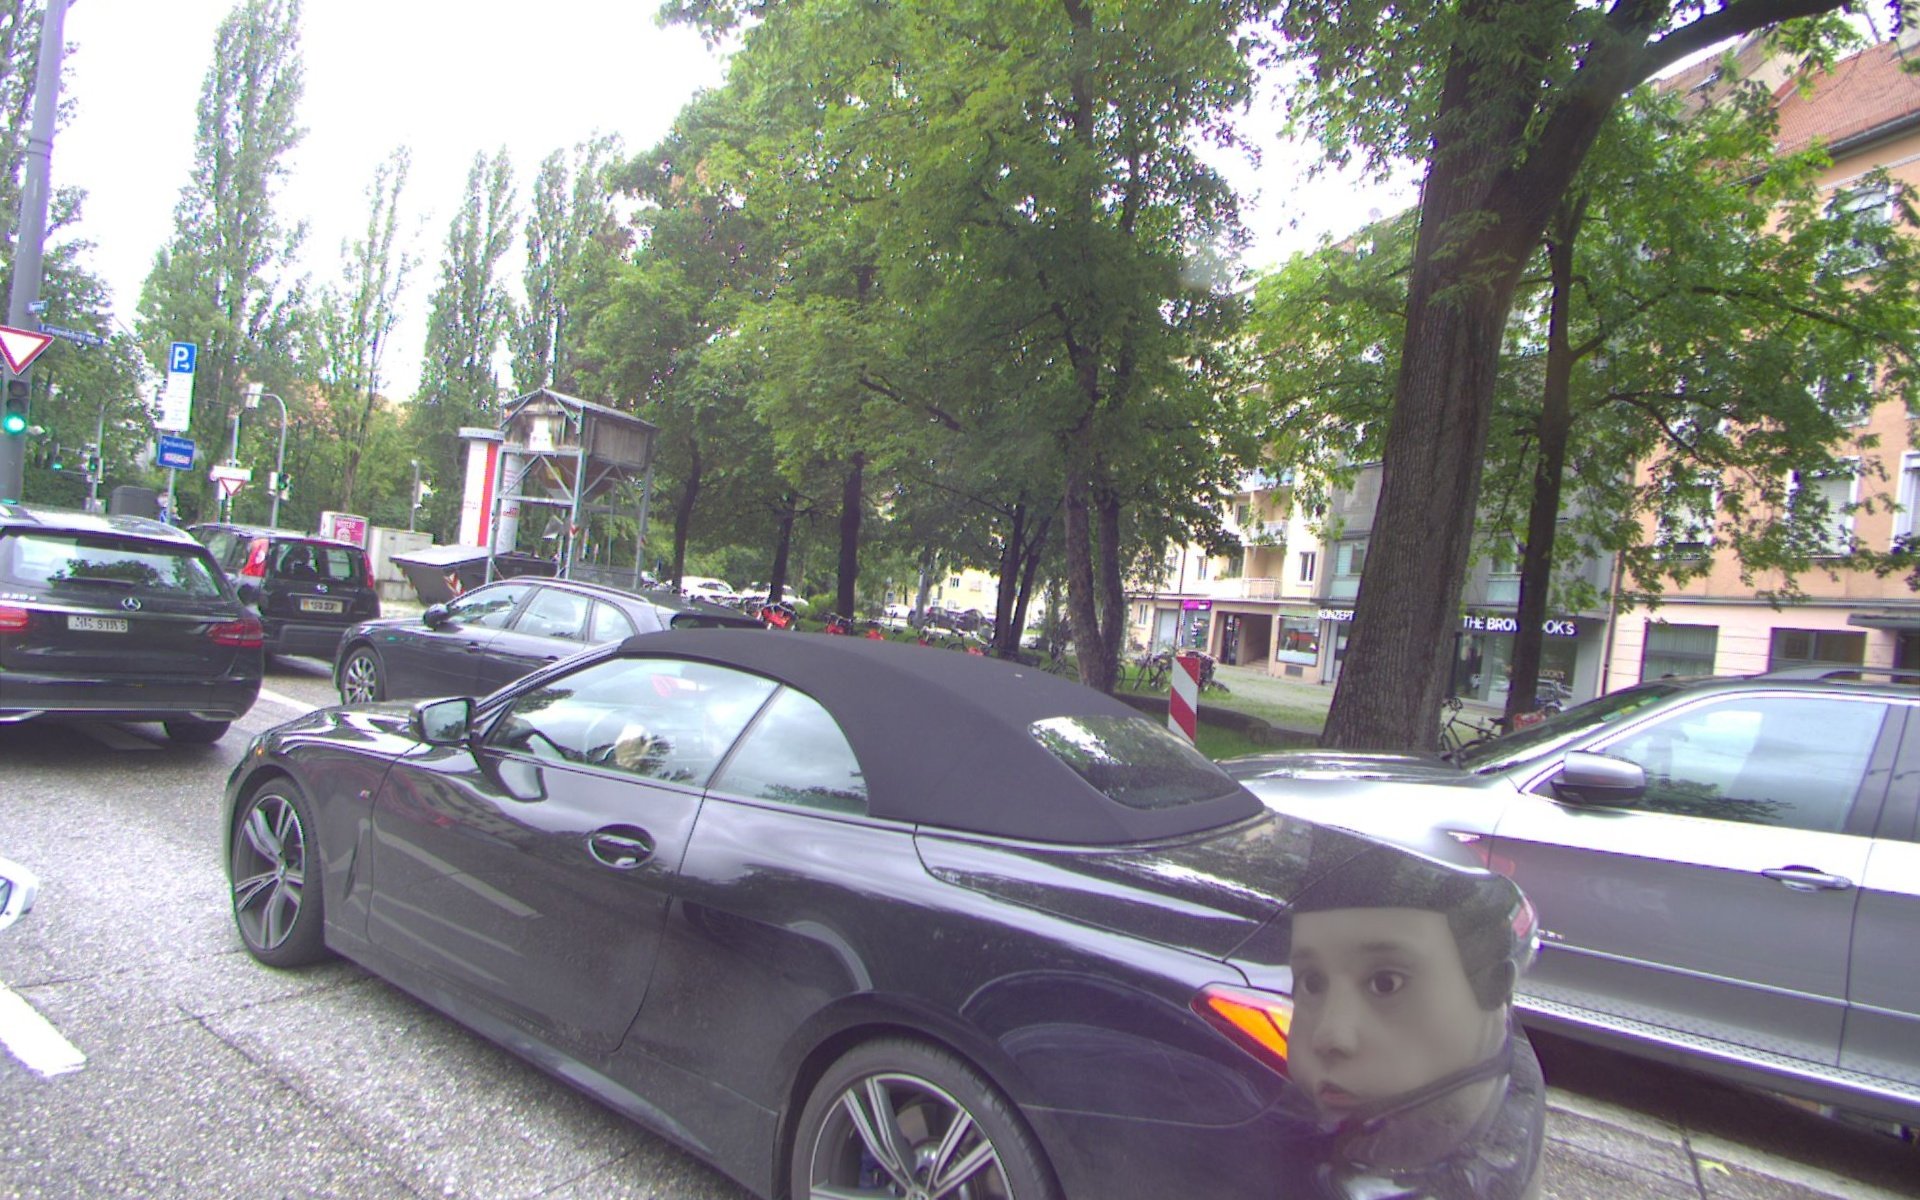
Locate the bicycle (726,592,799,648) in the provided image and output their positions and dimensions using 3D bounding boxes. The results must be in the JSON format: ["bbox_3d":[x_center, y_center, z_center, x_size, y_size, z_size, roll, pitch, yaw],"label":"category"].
[{"bbox_3d":[-3.729,0.390,19.081,0.308,0.904,1.408,6,-2,38],"label":"bicycle"}]

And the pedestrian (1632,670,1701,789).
[{"bbox_3d":[12.163,2.221,17.323,0.622,1.924,0.626,7,-1,-31],"label":"pedestrian"}]

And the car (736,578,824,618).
[{"bbox_3d":[-8.399,-0.063,47.278,1.700,1.424,4.370,7,0,27],"label":"car"}]

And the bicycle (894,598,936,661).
[{"bbox_3d":[-1.063,0.689,24.321,0.619,1.374,2.468,7,1,3],"label":"bicycle"}]

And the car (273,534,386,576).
[{"bbox_3d":[-31.160,-2.179,49.814,1.756,1.504,4.345,6,0,30],"label":"car"}]

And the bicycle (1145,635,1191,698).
[{"bbox_3d":[5.376,1.695,26.129,0.619,1.374,2.467,7,2,2],"label":"bicycle"}]

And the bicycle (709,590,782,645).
[{"bbox_3d":[-4.101,0.352,19.326,0.308,0.904,1.408,6,-2,38],"label":"bicycle"}]

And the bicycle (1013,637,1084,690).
[{"bbox_3d":[1.778,1.268,20.293,1.391,0.904,0.312,6,-1,38],"label":"bicycle"}]

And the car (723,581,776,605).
[{"bbox_3d":[-16.713,-0.515,80.013,1.755,1.504,4.134,6,0,27],"label":"car"}]

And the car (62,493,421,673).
[{"bbox_3d":[-8.575,-0.241,11.893,4.480,1.568,1.832,7,0,33],"label":"car"}]

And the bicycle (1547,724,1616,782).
[{"bbox_3d":[8.980,2.214,14.520,1.167,0.732,0.316,8,-2,-33],"label":"bicycle"}]

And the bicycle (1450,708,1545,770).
[{"bbox_3d":[8.048,2.078,15.091,1.163,0.732,0.317,6,-2,43],"label":"bicycle"}]

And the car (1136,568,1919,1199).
[{"bbox_3d":[3.277,1.077,4.200,4.475,1.842,1.935,7,0,27],"label":"car"}]

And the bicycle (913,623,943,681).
[{"bbox_3d":[-0.550,0.866,16.987,0.308,0.904,1.412,7,-2,-5],"label":"bicycle"}]

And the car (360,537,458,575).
[{"bbox_3d":[-29.543,-2.345,54.092,1.756,1.504,4.251,6,0,30],"label":"car"}]

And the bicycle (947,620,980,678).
[{"bbox_3d":[0.046,0.813,17.028,0.308,0.904,1.412,7,-2,-5],"label":"bicycle"}]

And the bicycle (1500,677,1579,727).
[{"bbox_3d":[18.296,3.208,31.823,0.500,1.304,2.238,7,-2,-22],"label":"bicycle"}]

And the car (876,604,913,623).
[{"bbox_3d":[-6.544,1.385,101.053,1.755,1.504,4.134,6,0,27],"label":"car"}]

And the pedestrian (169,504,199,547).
[{"bbox_3d":[-32.539,-3.119,42.177,0.692,1.682,0.550,7,-1,-18],"label":"pedestrian"}]

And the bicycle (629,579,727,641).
[{"bbox_3d":[-5.718,0.231,20.584,0.619,1.028,2.241,7,-2,21],"label":"bicycle"}]

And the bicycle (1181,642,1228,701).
[{"bbox_3d":[6.758,1.947,27.941,0.619,1.374,2.467,7,2,2],"label":"bicycle"}]

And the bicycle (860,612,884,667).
[{"bbox_3d":[-1.576,0.695,17.939,0.308,0.904,1.412,7,-2,-5],"label":"bicycle"}]

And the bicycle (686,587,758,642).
[{"bbox_3d":[-4.660,0.297,19.769,0.308,0.904,1.408,6,-2,38],"label":"bicycle"}]

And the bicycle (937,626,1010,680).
[{"bbox_3d":[0.282,1.073,20.280,1.395,0.904,0.311,8,-1,-25],"label":"bicycle"}]

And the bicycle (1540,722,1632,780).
[{"bbox_3d":[10.021,2.414,16.133,0.316,0.732,1.167,8,-2,-36],"label":"bicycle"}]

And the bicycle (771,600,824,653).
[{"bbox_3d":[-3.064,0.521,19.041,0.307,0.904,1.414,7,-2,17],"label":"bicycle"}]

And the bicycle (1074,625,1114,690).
[{"bbox_3d":[3.329,1.391,25.173,0.619,1.374,2.467,7,2,2],"label":"bicycle"}]

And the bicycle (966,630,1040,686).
[{"bbox_3d":[0.804,1.093,19.095,1.391,0.904,0.312,6,-1,38],"label":"bicycle"}]

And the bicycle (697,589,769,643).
[{"bbox_3d":[-4.392,0.323,19.552,0.308,0.904,1.408,6,-2,38],"label":"bicycle"}]

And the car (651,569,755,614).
[{"bbox_3d":[-10.734,-0.322,42.349,1.700,1.424,4.370,7,0,27],"label":"car"}]

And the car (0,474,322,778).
[{"bbox_3d":[-6.613,-0.037,6.875,4.626,1.567,1.867,7,-2,32],"label":"car"}]

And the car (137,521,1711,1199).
[{"bbox_3d":[-0.637,0.699,3.324,4.719,1.406,1.726,7,0,32],"label":"car"}]

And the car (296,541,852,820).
[{"bbox_3d":[-3.339,0.518,8.427,4.563,1.479,1.770,7,0,30],"label":"car"}]

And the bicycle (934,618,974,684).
[{"bbox_3d":[-0.109,1.168,23.263,0.619,1.372,2.471,7,-2,3],"label":"bicycle"}]

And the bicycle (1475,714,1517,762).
[{"bbox_3d":[8.895,2.290,16.683,0.314,0.732,1.174,6,-2,40],"label":"bicycle"}]

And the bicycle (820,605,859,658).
[{"bbox_3d":[-2.198,0.574,18.447,0.307,0.905,1.413,7,0,6],"label":"bicycle"}]
